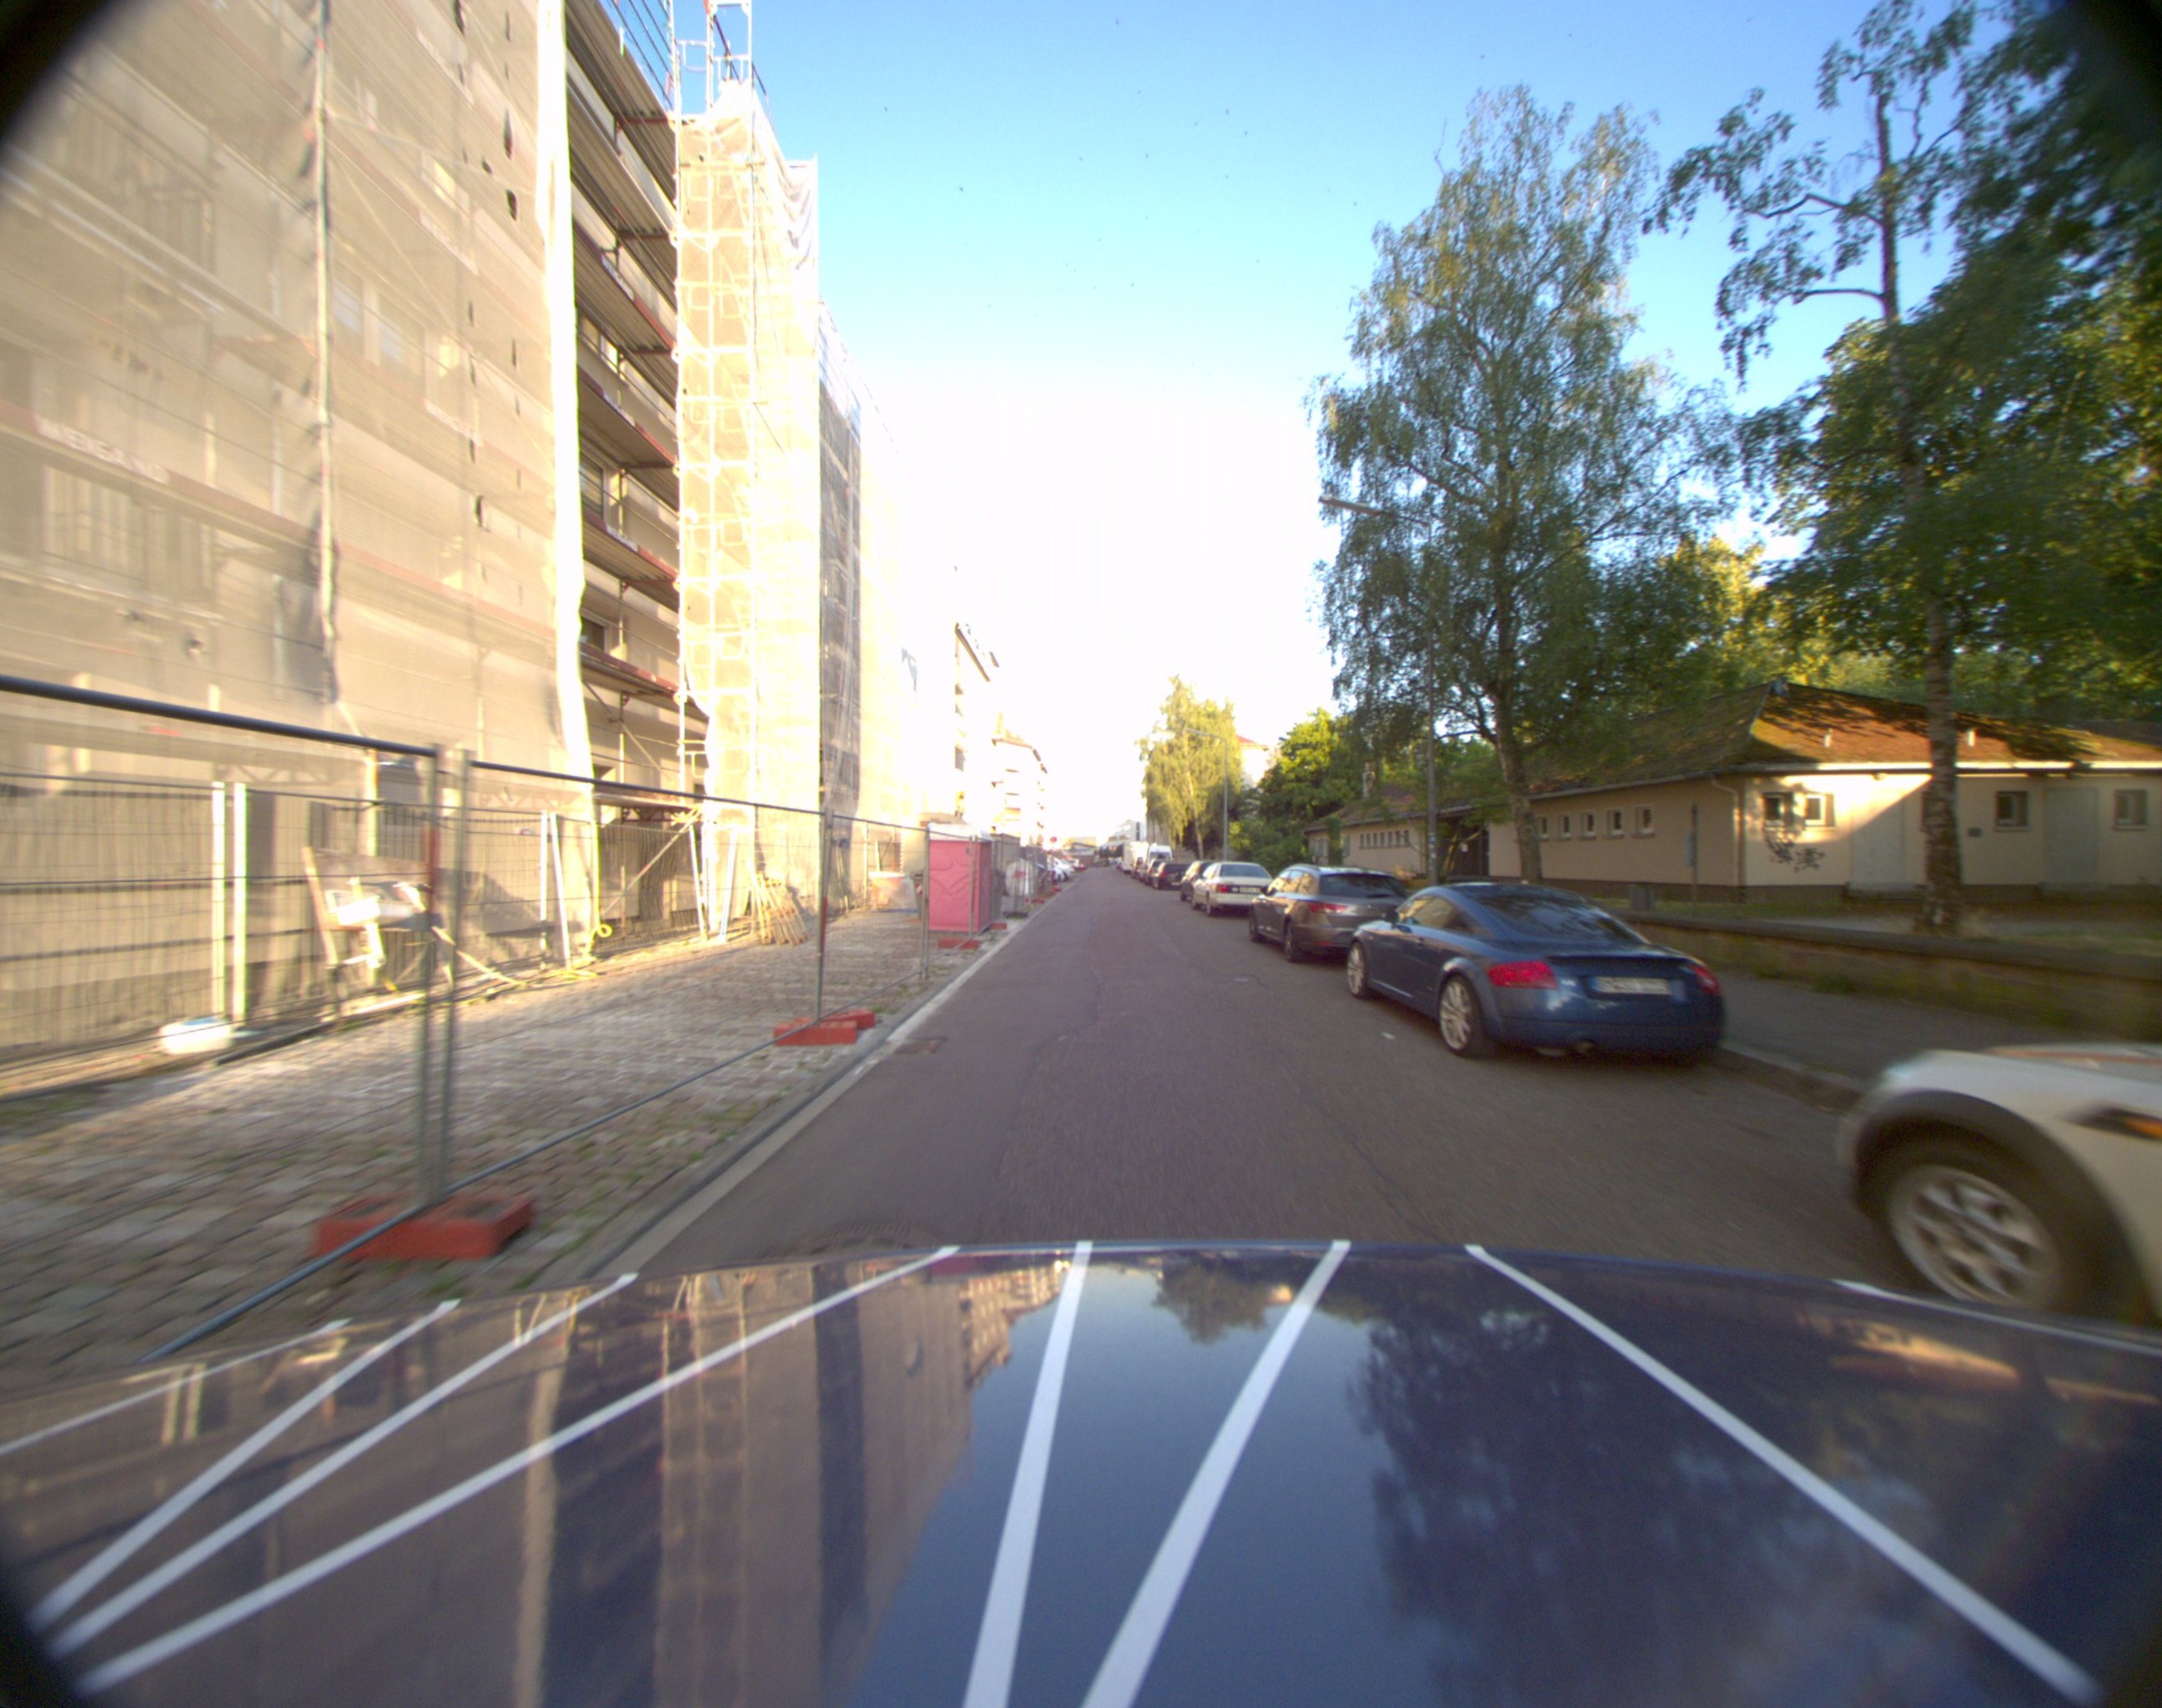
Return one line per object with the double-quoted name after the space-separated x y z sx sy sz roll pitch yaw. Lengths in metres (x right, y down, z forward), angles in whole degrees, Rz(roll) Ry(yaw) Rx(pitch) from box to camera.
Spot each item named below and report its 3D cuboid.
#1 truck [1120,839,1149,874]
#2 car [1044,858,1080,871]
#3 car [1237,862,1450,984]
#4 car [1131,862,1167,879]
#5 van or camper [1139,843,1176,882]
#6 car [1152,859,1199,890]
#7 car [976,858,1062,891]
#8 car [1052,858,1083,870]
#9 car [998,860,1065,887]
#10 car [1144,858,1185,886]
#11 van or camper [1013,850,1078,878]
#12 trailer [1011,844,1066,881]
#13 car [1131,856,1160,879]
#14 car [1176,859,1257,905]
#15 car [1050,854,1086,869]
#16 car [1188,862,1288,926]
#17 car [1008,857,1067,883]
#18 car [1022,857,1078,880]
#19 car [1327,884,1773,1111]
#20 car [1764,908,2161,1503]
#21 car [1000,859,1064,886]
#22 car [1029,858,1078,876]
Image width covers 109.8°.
5.478 0.288 78.468 2.531 3.334 8.018 2 0 1 "truck"
-2.339 1.294 94.146 4.310 1.532 1.924 0 0 3 "car"
3.913 0.923 12.298 1.864 1.529 4.759 1 0 1 "car"
4.989 1.221 56.323 1.999 1.182 4.035 -1 0 -4 "car"
5.019 0.543 50.707 1.998 2.442 6.084 0 0 1 "van or camper"
4.741 1.015 38.562 1.998 1.444 4.289 -1 0 2 "car"
-3.105 1.030 38.595 4.163 1.606 1.872 0 0 3 "car"
-1.785 1.287 99.174 3.997 1.619 1.785 0 0 -1 "car"
-2.995 1.155 46.305 3.974 1.562 1.789 0 0 -1 "car"
4.841 1.009 44.630 1.998 1.510 4.790 -1 0 2 "car"
-2.697 0.765 58.584 4.846 2.084 2.041 0 0 1 "van or camper"
-2.847 0.598 51.177 3.576 2.323 1.940 2 0 -1 "trailer"
5.160 1.060 61.187 1.915 1.777 4.950 1 0 0 "car"
4.560 0.908 26.182 1.999 1.444 3.999 -1 0 -1 "car"
-1.734 1.025 102.082 4.684 1.988 2.000 0 0 2 "car"
4.119 0.995 20.686 1.786 1.437 4.749 2 0 1 "car"
-2.975 1.088 53.219 3.997 1.718 2.000 0 1 0 "car"
-2.245 1.076 55.839 3.997 1.630 2.000 0 0 0 "car"
3.726 1.012 7.034 1.663 1.306 4.155 1 0 2 "car"
3.543 0.951 1.123 1.605 1.423 3.804 2 0 0 "car"
-3.068 1.178 48.594 3.997 1.628 1.903 0 0 -1 "car"
-2.362 1.106 65.532 4.113 1.576 1.854 0 0 -2 "car"
